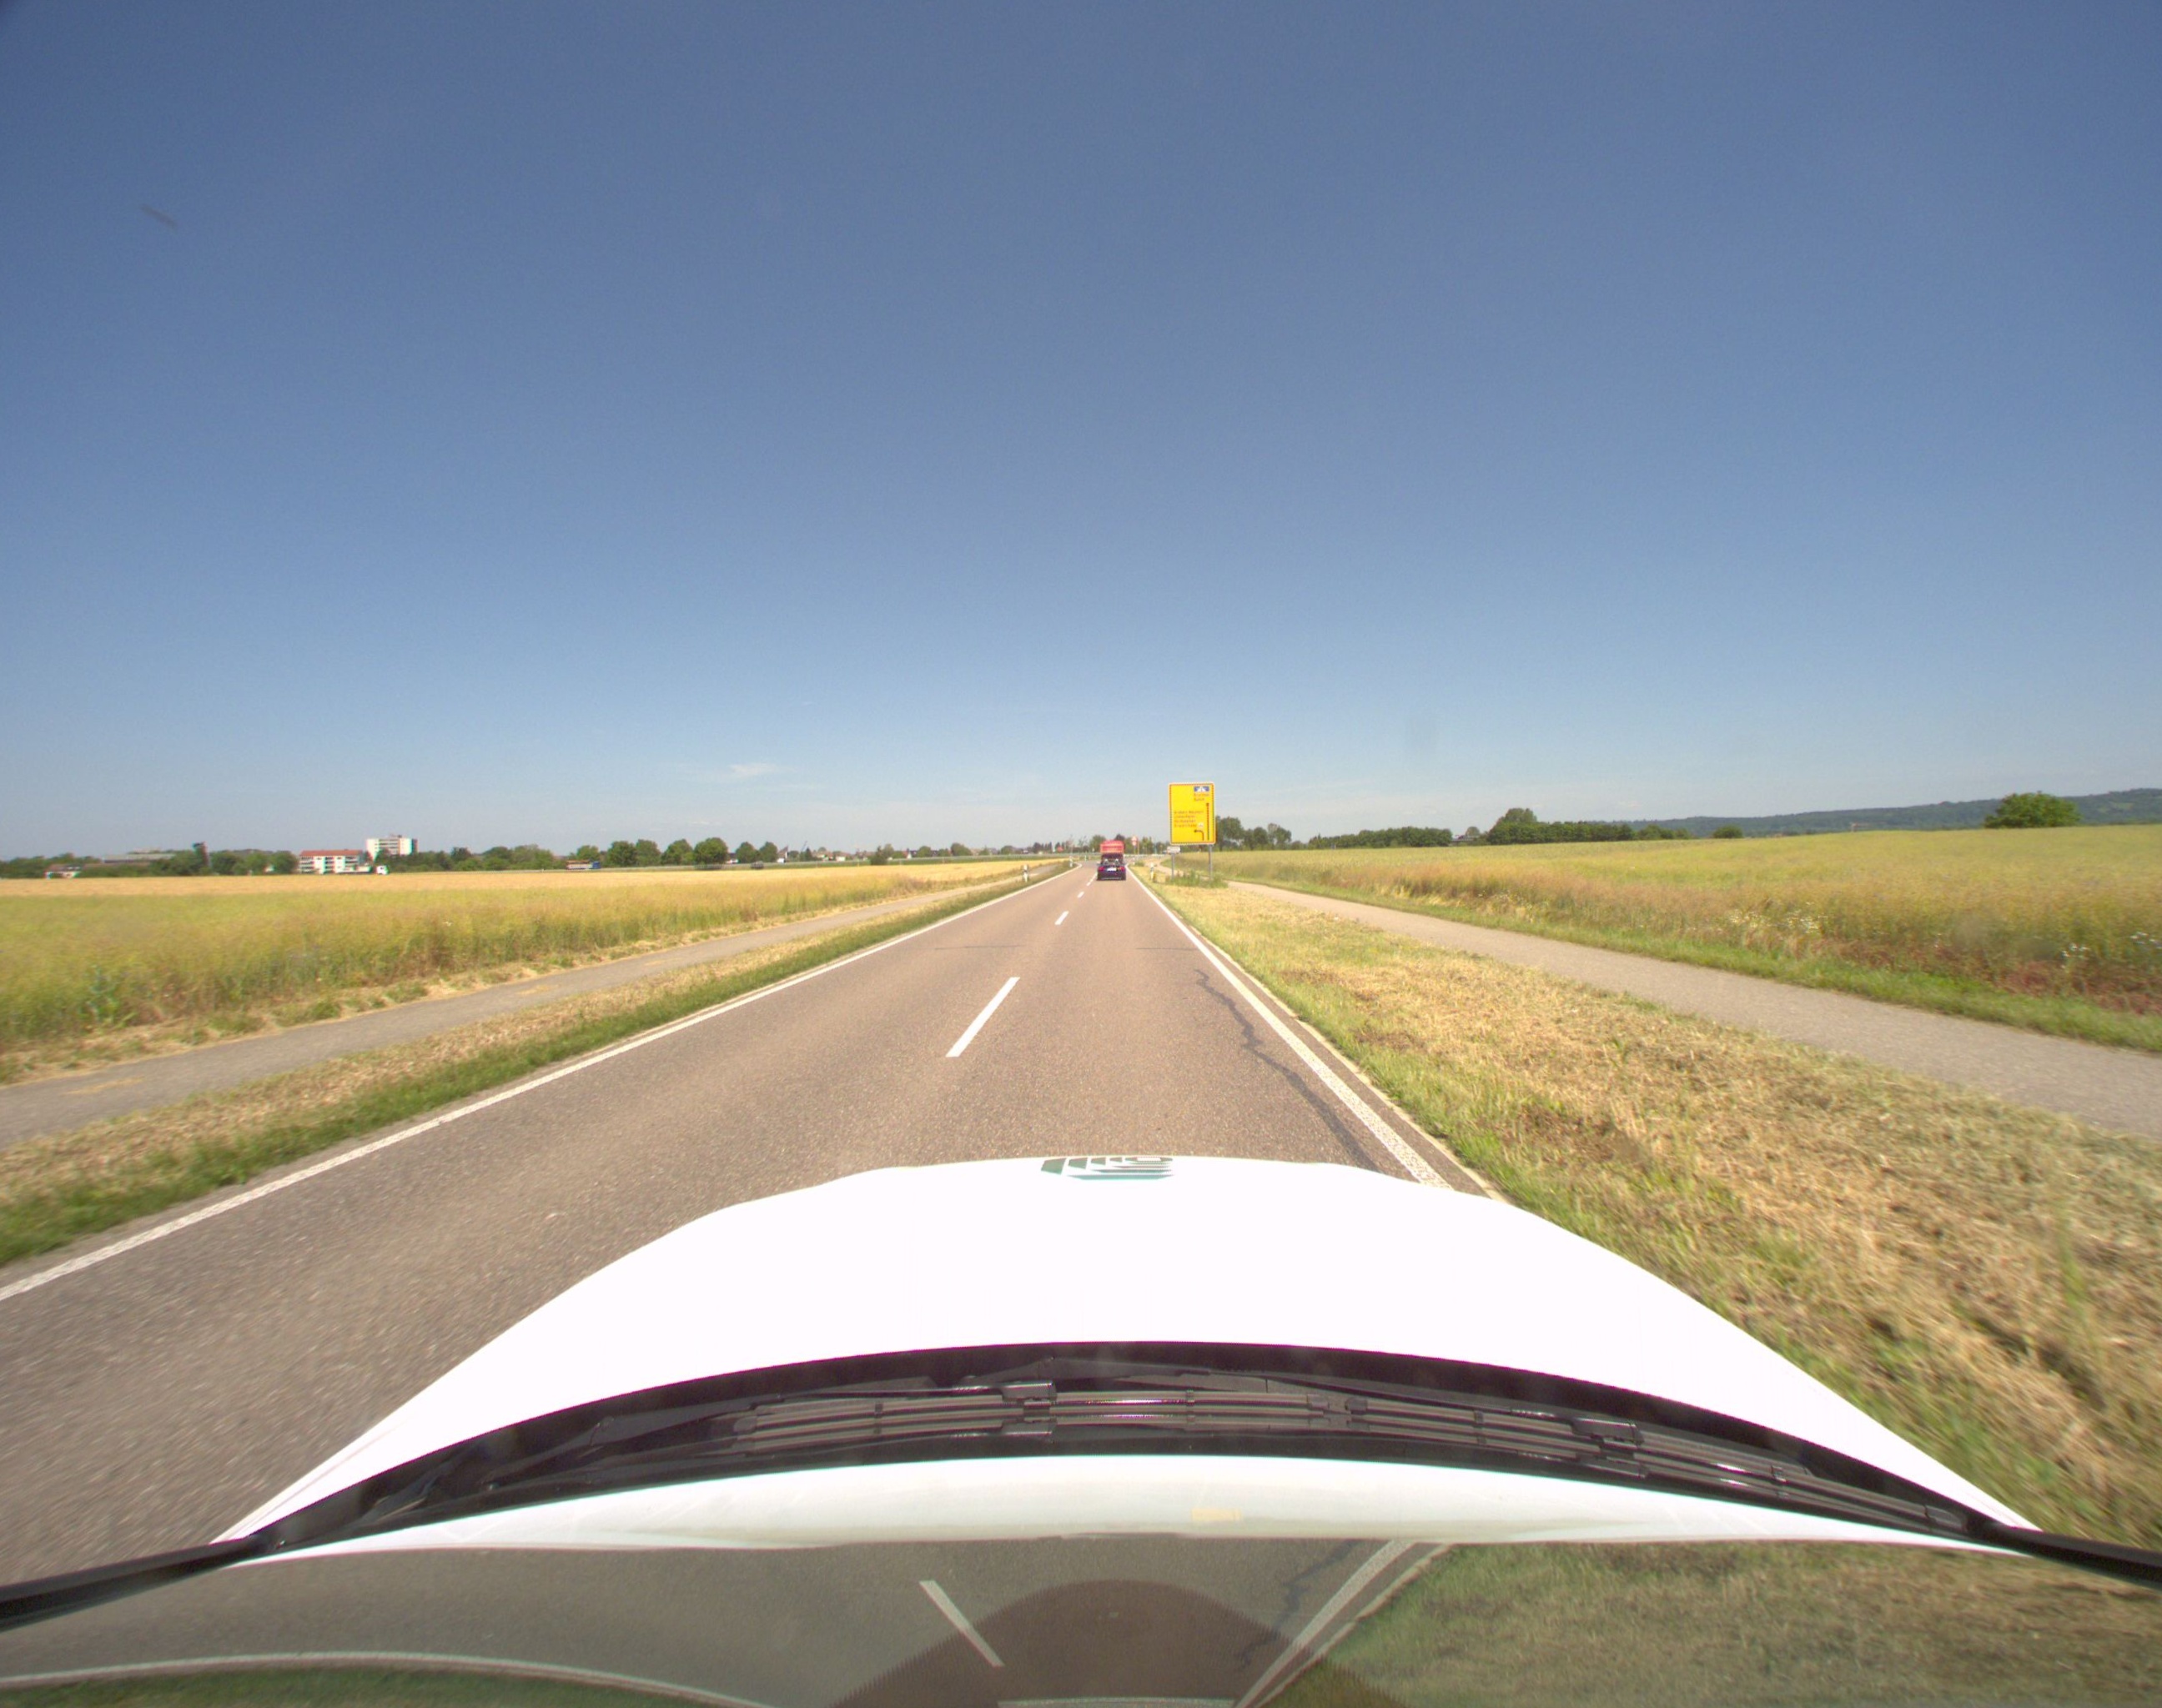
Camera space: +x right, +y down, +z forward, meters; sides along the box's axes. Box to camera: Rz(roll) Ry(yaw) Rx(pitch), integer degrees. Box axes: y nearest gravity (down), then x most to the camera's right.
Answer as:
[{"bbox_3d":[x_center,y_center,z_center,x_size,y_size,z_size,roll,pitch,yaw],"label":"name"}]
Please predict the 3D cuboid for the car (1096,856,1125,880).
[{"bbox_3d":[1.835,0.866,50.276,1.741,1.376,3.681,1,-1,2],"label":"car"}]

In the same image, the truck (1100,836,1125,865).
[{"bbox_3d":[3.536,-0.336,92.852,2.703,3.053,8.168,0,-1,2],"label":"truck"}]
